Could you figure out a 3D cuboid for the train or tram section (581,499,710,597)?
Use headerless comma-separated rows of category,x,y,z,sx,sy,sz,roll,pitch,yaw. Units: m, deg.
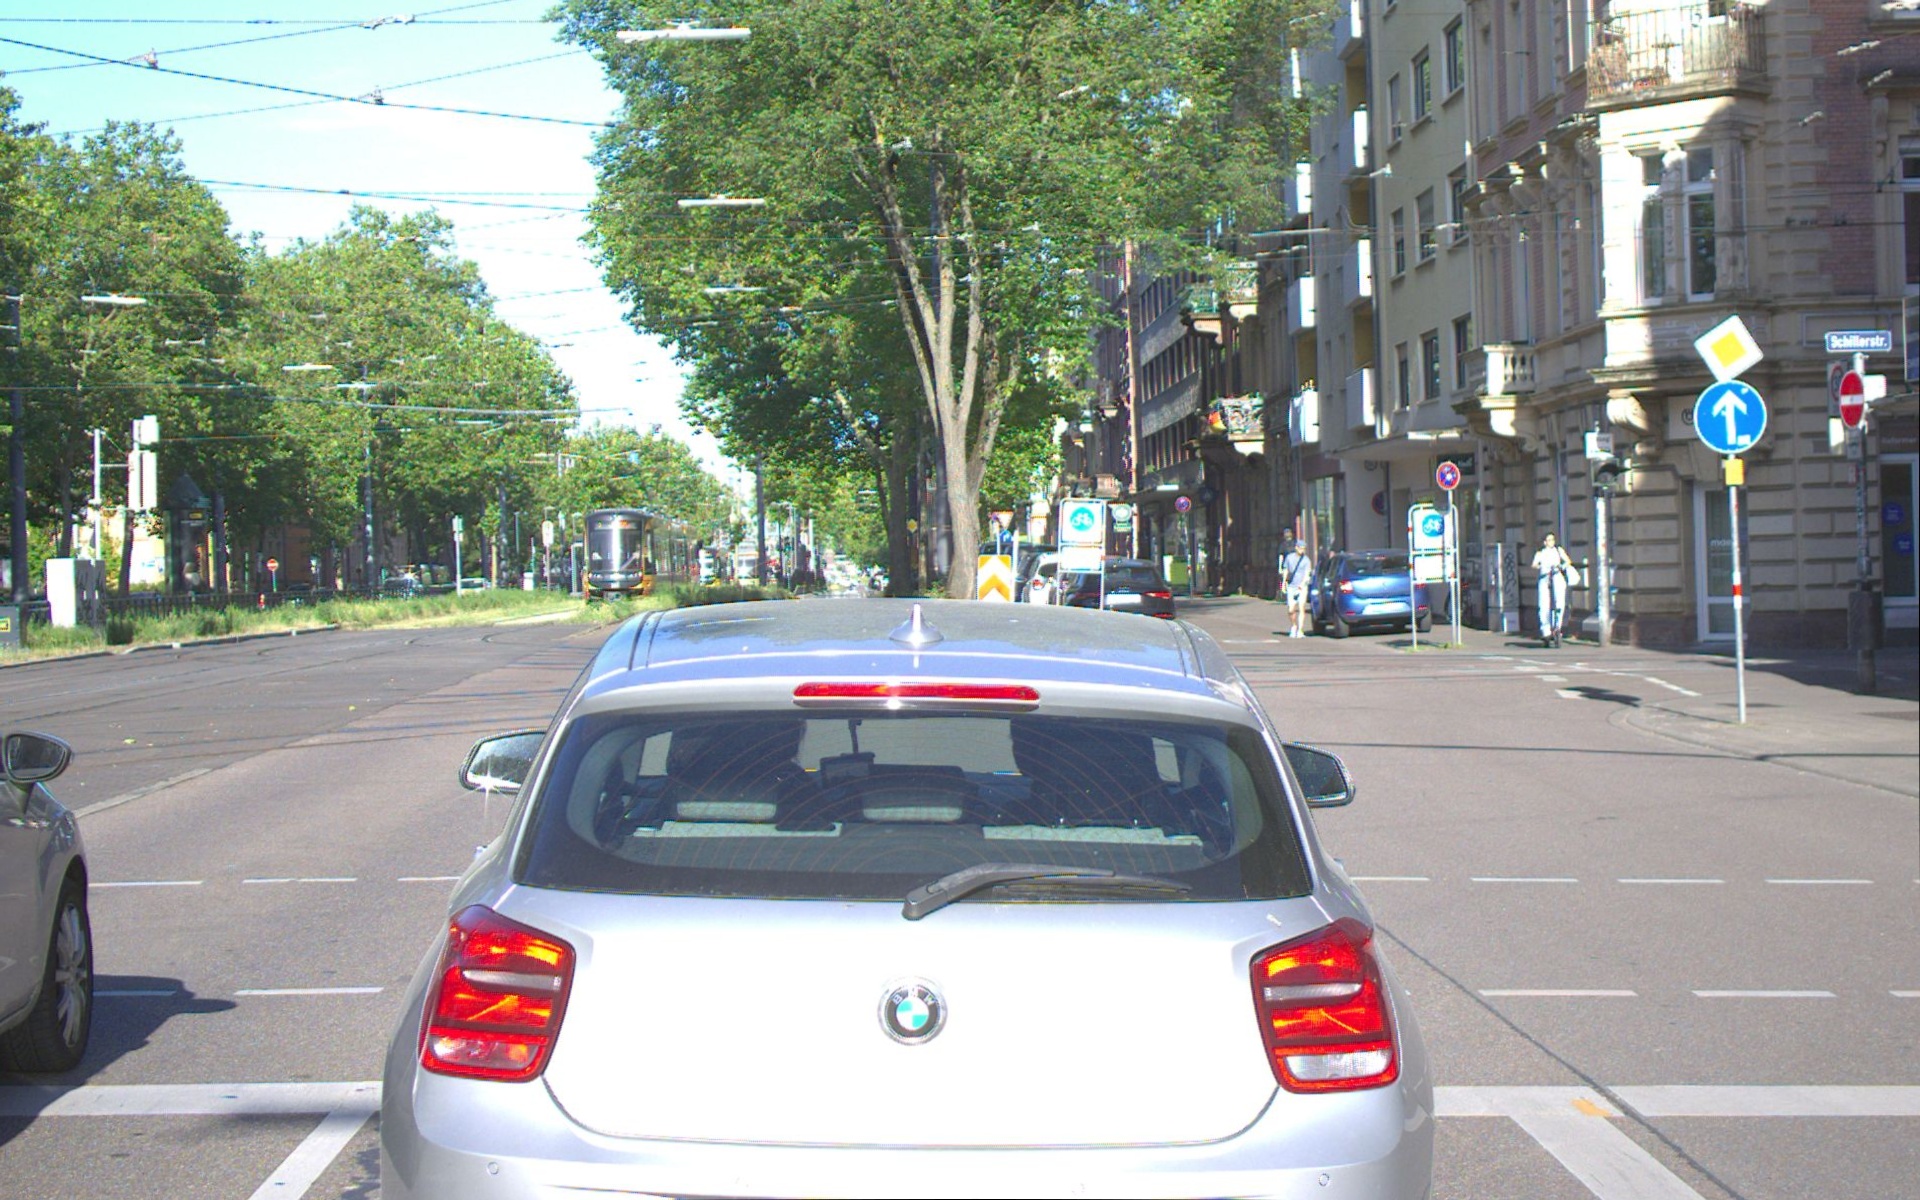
train or tram section,-13.174,-2.210,145.815,4.005,3.852,17.489,-1,1,-1

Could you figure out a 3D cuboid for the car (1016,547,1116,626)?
car,2.052,-0.292,67.382,1.724,1.502,3.555,0,1,-2

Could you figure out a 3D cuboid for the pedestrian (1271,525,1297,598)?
pedestrian,8.075,-0.971,85.704,0.505,1.795,0.805,-1,1,-1

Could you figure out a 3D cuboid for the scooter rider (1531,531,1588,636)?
scooter rider,8.716,-0.243,49.979,0.465,1.500,0.811,-1,1,-17

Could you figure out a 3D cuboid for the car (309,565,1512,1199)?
car,-0.102,0.678,6.998,1.740,1.462,4.000,1,1,-1

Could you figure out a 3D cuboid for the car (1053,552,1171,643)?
car,2.454,-0.062,56.177,1.735,1.428,3.678,0,1,0

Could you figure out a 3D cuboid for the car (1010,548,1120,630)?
car,1.864,-0.212,61.829,1.743,1.428,3.555,0,1,-2

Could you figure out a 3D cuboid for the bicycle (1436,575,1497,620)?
bicycle,9.181,-0.055,62.385,0.754,0.768,1.945,-1,1,-2

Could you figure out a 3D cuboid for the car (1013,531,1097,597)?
car,2.195,-0.849,80.127,1.724,1.502,3.555,0,1,-2

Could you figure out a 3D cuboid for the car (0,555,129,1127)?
car,-3.268,0.641,8.555,1.609,1.462,3.890,-1,1,-3

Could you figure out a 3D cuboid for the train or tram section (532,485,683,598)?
train or tram section,-12.956,-2.166,128.222,3.969,3.852,17.489,-1,1,-1

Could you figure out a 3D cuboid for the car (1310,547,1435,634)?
car,7.407,-0.191,62.042,1.735,1.514,3.637,0,1,-1

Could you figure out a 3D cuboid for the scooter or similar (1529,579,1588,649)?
scooter or similar,8.707,0.192,50.038,0.337,0.984,1.284,-1,1,-14
